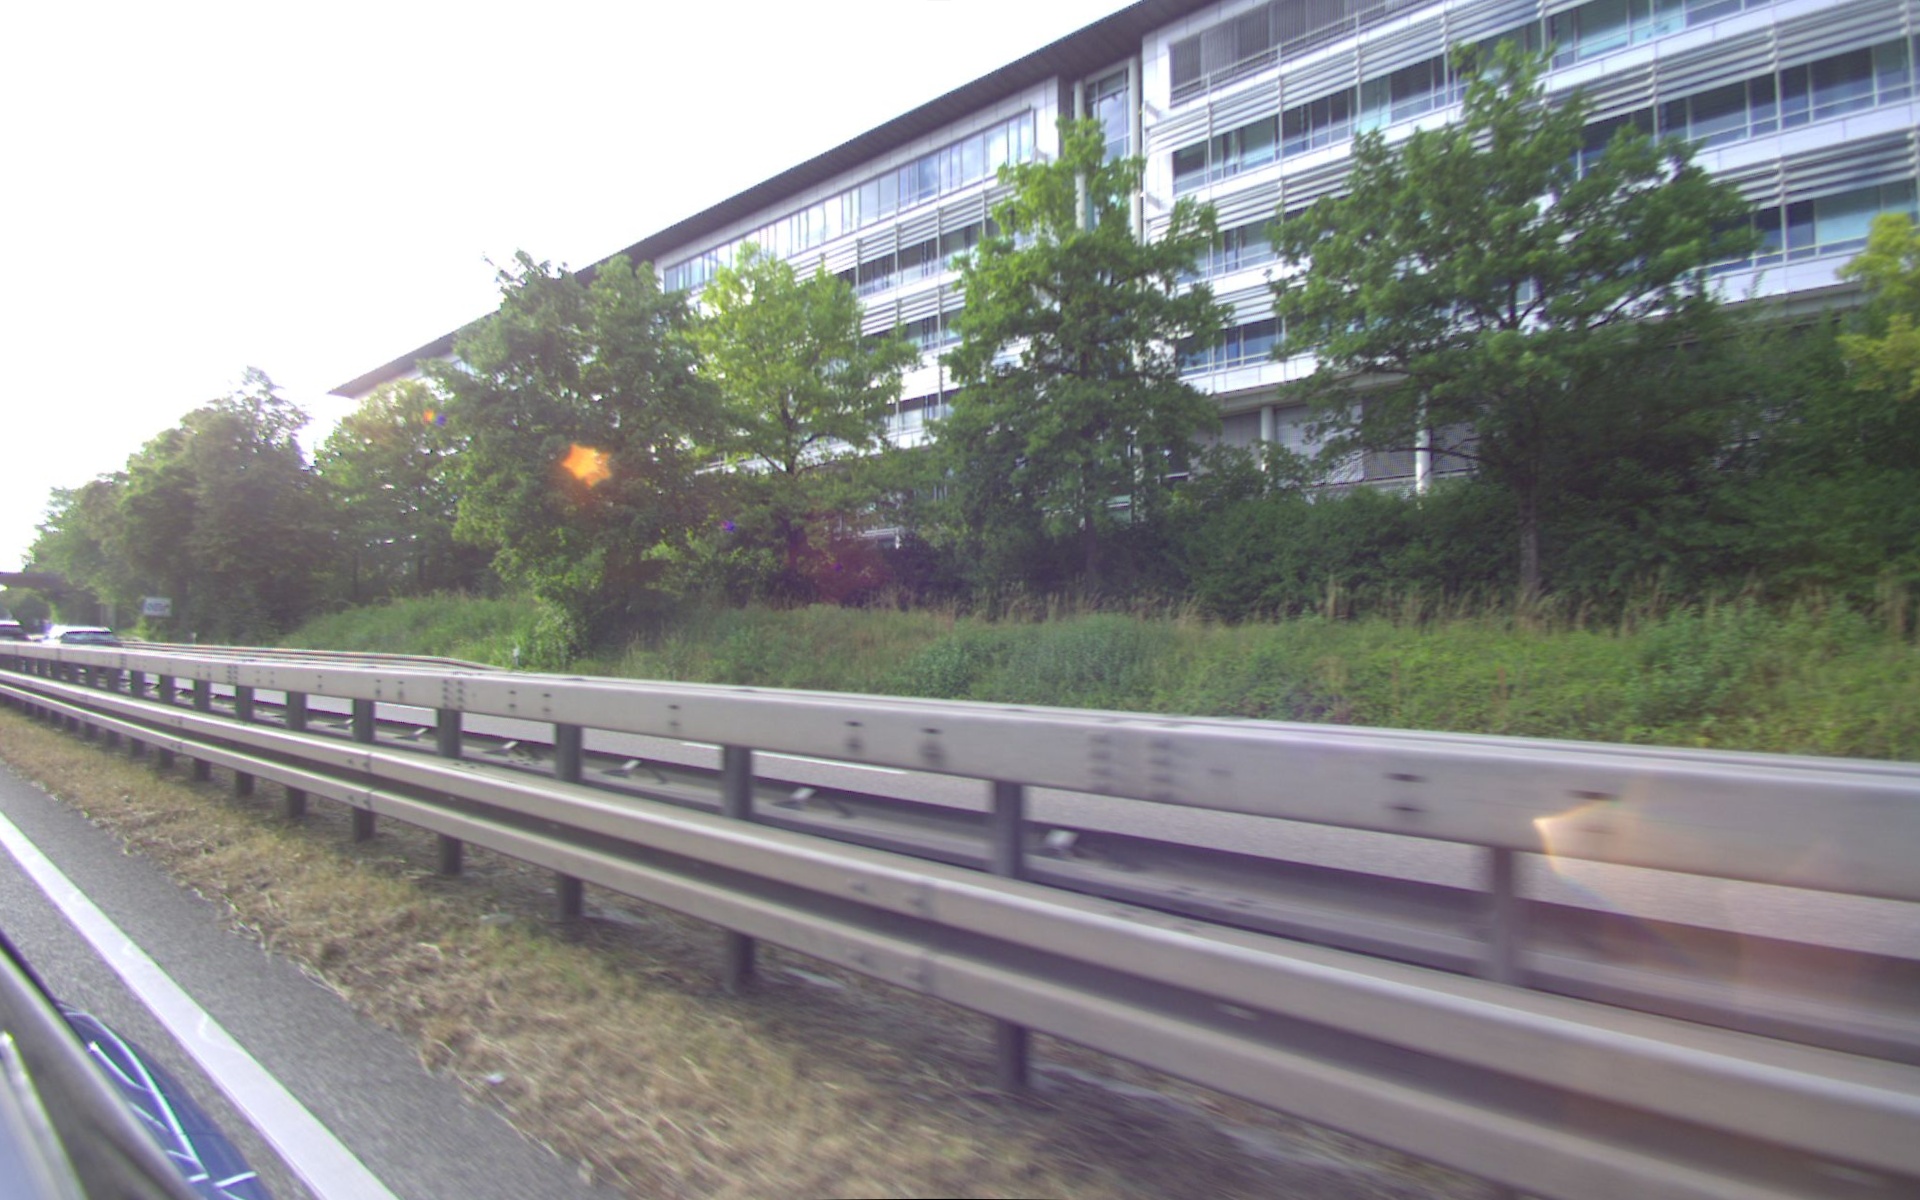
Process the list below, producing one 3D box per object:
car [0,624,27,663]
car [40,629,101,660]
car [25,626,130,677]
[{"bbox_3d":[-43.112,1.909,45.061,5.276,1.657,1.724,-2,-2,41],"label":"car"},{"bbox_3d":[-46.771,2.319,53.209,4.414,1.496,1.798,-2,-1,40],"label":"car"},{"bbox_3d":[-26.973,1.546,30.880,4.308,1.469,1.725,-1,-3,40],"label":"car"}]
